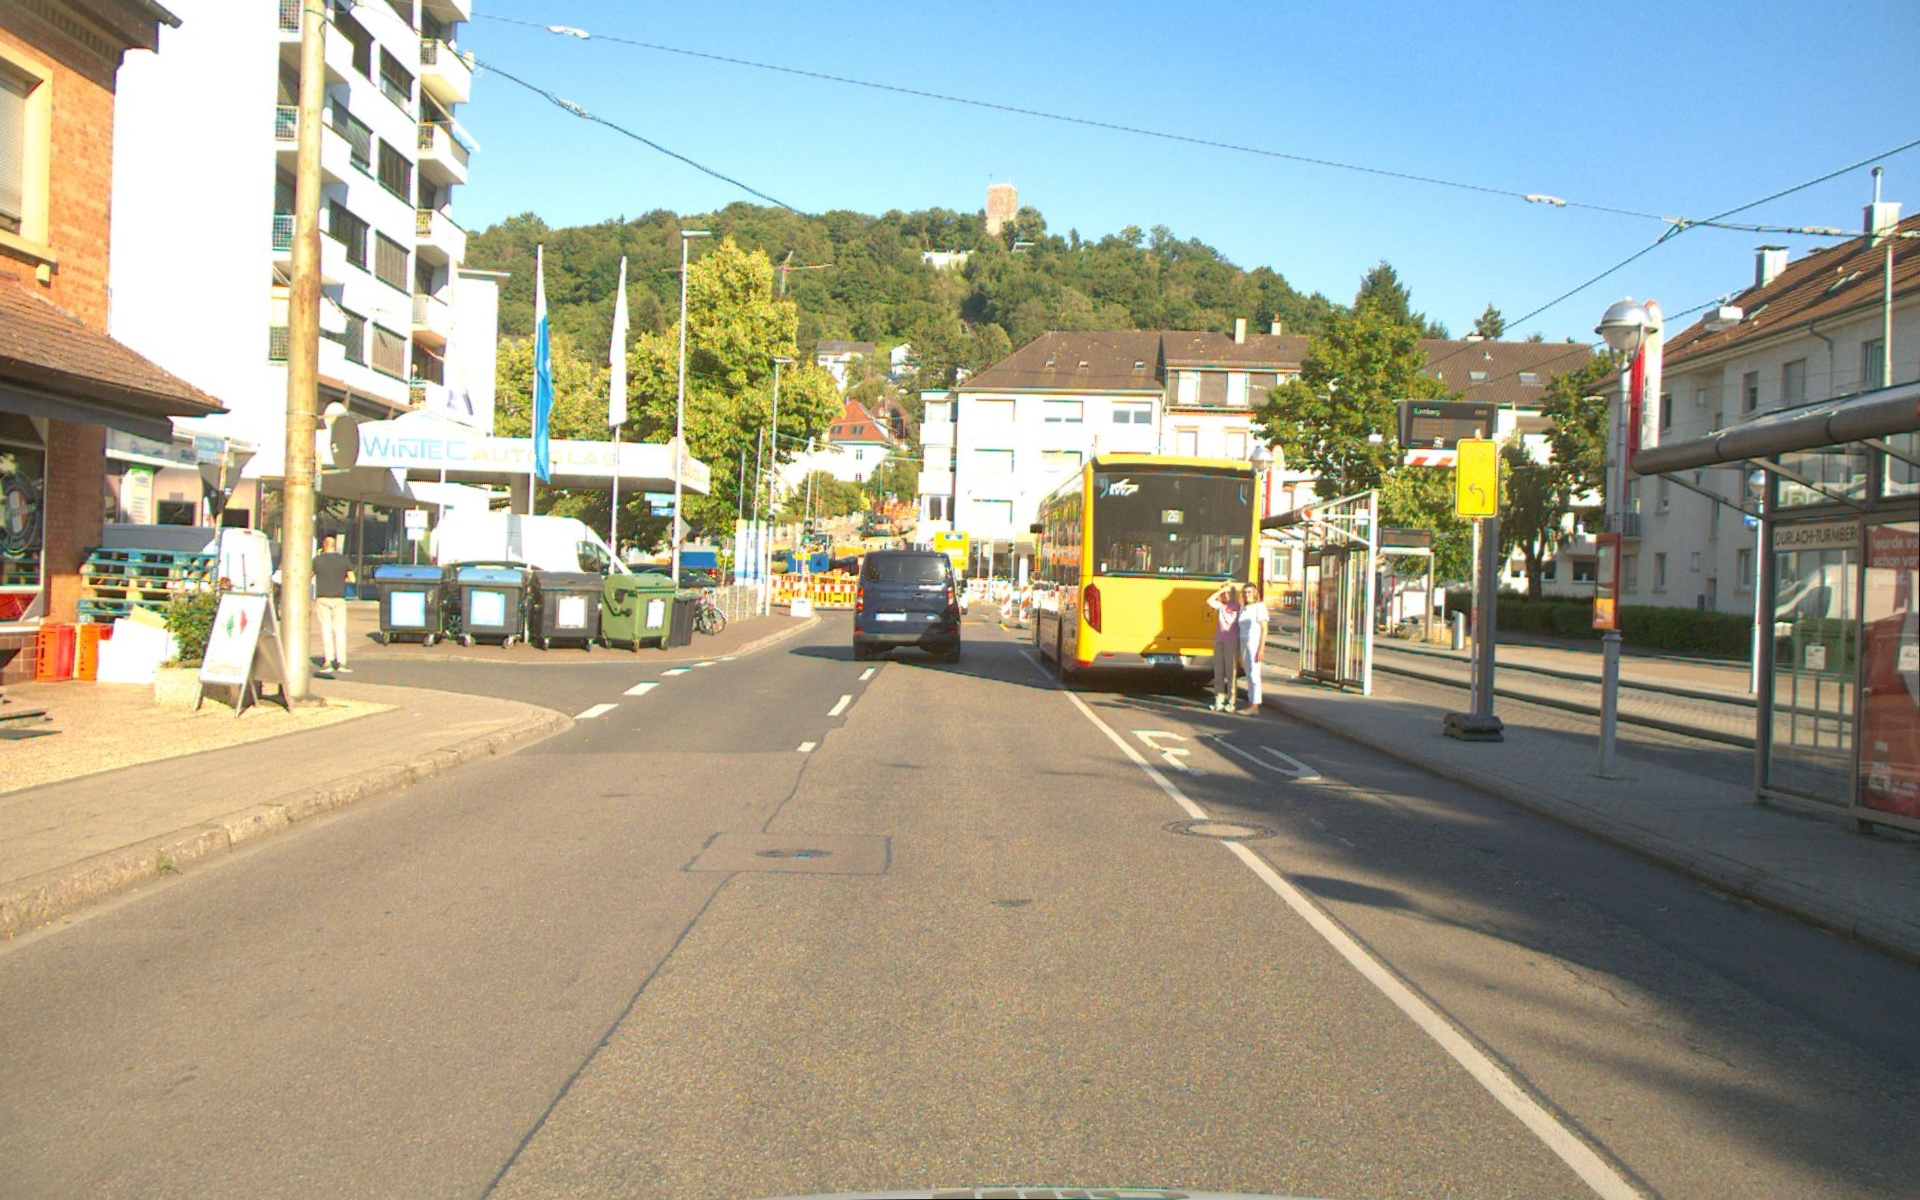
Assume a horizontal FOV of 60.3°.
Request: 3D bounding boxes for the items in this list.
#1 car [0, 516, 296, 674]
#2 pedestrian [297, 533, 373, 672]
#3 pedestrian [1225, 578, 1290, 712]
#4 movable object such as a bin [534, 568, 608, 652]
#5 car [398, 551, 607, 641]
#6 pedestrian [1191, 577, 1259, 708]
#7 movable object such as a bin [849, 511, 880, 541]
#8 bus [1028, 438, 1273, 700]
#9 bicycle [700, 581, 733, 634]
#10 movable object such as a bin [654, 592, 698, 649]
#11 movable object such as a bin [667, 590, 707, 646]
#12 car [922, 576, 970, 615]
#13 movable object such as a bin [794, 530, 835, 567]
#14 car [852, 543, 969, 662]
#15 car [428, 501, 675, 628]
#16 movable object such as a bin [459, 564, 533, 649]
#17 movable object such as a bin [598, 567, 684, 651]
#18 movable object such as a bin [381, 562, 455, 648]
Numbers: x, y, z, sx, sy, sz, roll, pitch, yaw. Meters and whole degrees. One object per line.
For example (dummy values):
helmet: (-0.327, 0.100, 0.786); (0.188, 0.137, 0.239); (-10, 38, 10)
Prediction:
car: (-11.653, -0.093, 22.318); (4.522, 1.967, 1.999); (1, 0, -3)
pedestrian: (-8.808, 0.030, 23.347); (0.802, 1.900, 0.794); (2, 1, -9)
pedestrian: (3.737, 0.555, 20.788); (0.540, 1.641, 0.542); (2, 0, -38)
movable object such as a bin: (-7.340, 0.174, 31.224); (1.205, 1.508, 0.697); (0, 4, -30)
car: (-9.234, -0.084, 33.577); (3.921, 1.595, 1.766); (3, 1, -15)
pedestrian: (3.384, 0.535, 21.138); (0.540, 1.641, 0.627); (2, 0, -38)
movable object such as a bin: (-9.486, -7.322, 164.415); (2.144, 2.737, 4.004); (2, 1, 11)
bus: (2.834, -0.515, 28.435); (2.633, 3.475, 12.018); (2, 1, 0)
bicycle: (-5.789, 0.168, 39.216); (0.710, 1.198, 1.777); (2, 0, -10)
movable object such as a bin: (-5.700, 0.406, 33.195); (0.646, 1.080, 0.585); (4, 2, 12)
movable object such as a bin: (-5.569, 0.362, 33.787); (0.626, 1.088, 0.581); (3, 4, 11)
car: (-0.523, -0.202, 64.606); (1.757, 1.434, 4.001); (1, 1, 1)
movable object such as a bin: (-11.423, -4.009, 129.864); (2.144, 2.737, 4.004); (2, 1, 11)
car: (-0.891, 0.030, 31.557); (2.020, 2.049, 4.999); (1, 0, -1)
car: (-9.039, -0.751, 36.585); (4.986, 2.512, 2.095); (2, 0, -23)
movable object such as a bin: (-8.698, 0.113, 31.018); (1.194, 1.508, 0.704); (2, 3, -5)
movable object such as a bin: (-6.218, 0.150, 32.260); (1.035, 1.508, 1.311); (4, 4, 28)
movable object such as a bin: (-10.062, 0.087, 30.732); (1.155, 1.508, 0.704); (2, 3, -5)
